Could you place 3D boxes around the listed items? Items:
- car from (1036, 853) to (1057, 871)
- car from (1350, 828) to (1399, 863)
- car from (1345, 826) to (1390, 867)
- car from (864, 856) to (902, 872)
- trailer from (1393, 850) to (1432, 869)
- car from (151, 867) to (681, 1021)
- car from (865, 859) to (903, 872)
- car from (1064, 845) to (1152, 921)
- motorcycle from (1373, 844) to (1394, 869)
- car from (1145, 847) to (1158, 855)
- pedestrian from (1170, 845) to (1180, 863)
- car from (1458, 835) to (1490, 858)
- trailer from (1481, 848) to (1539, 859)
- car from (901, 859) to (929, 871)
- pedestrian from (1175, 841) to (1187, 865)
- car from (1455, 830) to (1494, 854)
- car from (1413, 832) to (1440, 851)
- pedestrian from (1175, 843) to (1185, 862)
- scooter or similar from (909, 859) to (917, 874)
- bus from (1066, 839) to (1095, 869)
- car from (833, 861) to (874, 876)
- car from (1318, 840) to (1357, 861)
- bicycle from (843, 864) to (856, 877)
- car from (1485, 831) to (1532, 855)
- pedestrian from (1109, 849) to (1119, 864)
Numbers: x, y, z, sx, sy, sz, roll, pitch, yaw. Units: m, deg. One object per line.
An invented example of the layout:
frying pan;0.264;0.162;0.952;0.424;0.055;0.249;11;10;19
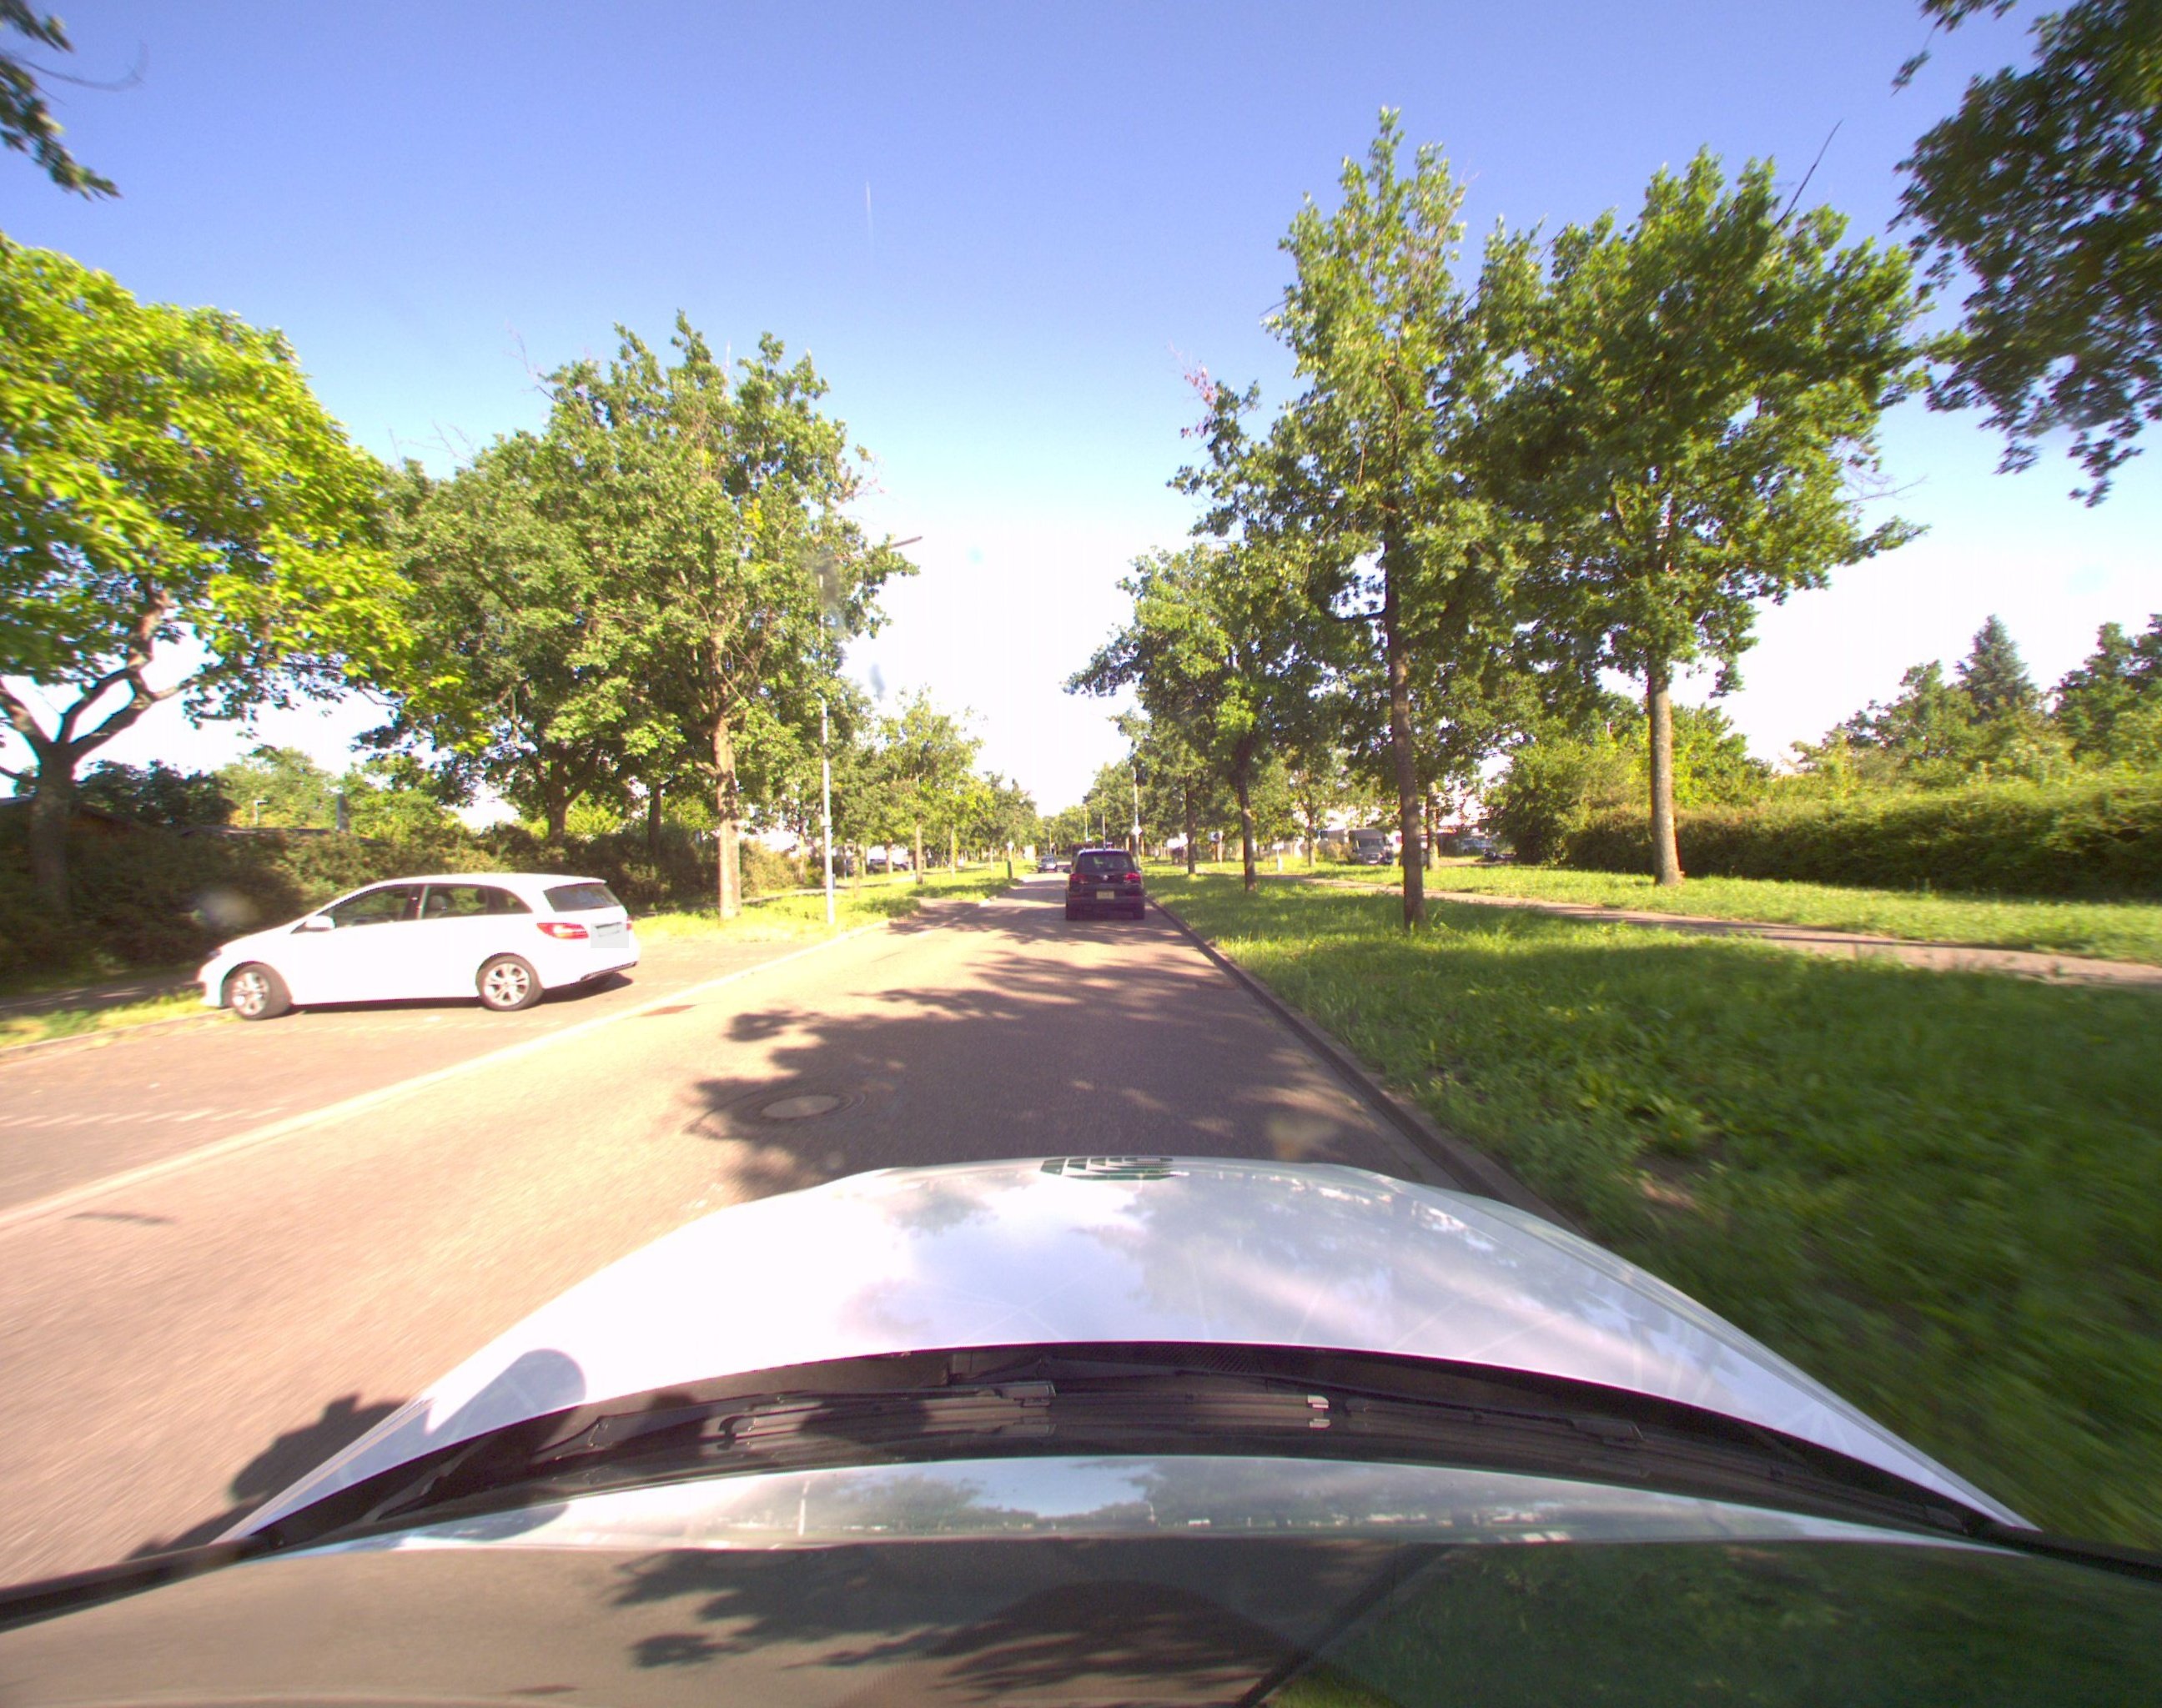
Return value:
car;-3.128;0.709;74.637;1.760;1.528;4.493;-4;1;-1
car;23.834;-0.705;66.334;2.154;2.643;4.849;-2;0;-1
car;19.694;-0.590;56.304;2.071;2.565;5.992;-1;3;11
car;-27.857;1.380;114.596;4.886;2.013;1.976;-2;0;-43
trailer;17.917;0.334;44.036;1.568;0.868;2.060;-2;-4;11
car;-7.813;0.994;10.063;4.616;1.558;2.189;-1;0;-3
car;-24.214;1.457;100.069;3.976;1.401;1.976;-3;0;-43
car;0.563;0.630;20.236;1.930;1.656;4.425;-1;0;-1
motorcycle;17.085;0.170;45.964;0.658;1.231;2.413;-2;-4;11
car;16.847;-0.709;193.534;2.182;1.744;4.631;-2;0;-6
pedestrian;8.593;-0.027;74.471;0.724;1.603;0.867;-2;0;-2
car;31.265;-0.609;64.847;1.819;1.640;4.020;-2;0;20
trailer;29.212;-0.033;55.586;2.214;0.651;4.837;-2;0;11
car;-25.635;1.726;125.937;3.716;1.618;1.971;-2;0;13
pedestrian;7.885;-0.078;64.282;0.724;1.812;0.867;-2;2;-2
car;36.390;-1.158;75.473;2.071;2.061;5.030;-1;3;11
car;32.133;-1.166;75.868;1.821;1.640;4.018;-2;0;16
pedestrian;9.118;-0.141;75.158;0.724;1.755;0.867;-4;0;-1
scooter or similar;-15.464;1.159;74.920;0.393;1.279;1.441;-2;0;0
bus;-0.165;-0.011;102.862;2.759;3.456;11.193;-2;0;-4
car;-25.326;1.579;90.744;4.013;1.511;1.784;-2;1;-31
car;21.244;-0.295;67.543;1.999;1.664;3.595;-2;0;-1
bicycle;-21.854;1.542;76.901;0.637;1.087;1.890;-2;0;-1
car;34.103;-0.860;65.092;1.983;1.823;4.008;-2;0;7
pedestrian;3.874;0.268;95.901;1.016;1.651;1.099;-2;0;-2
